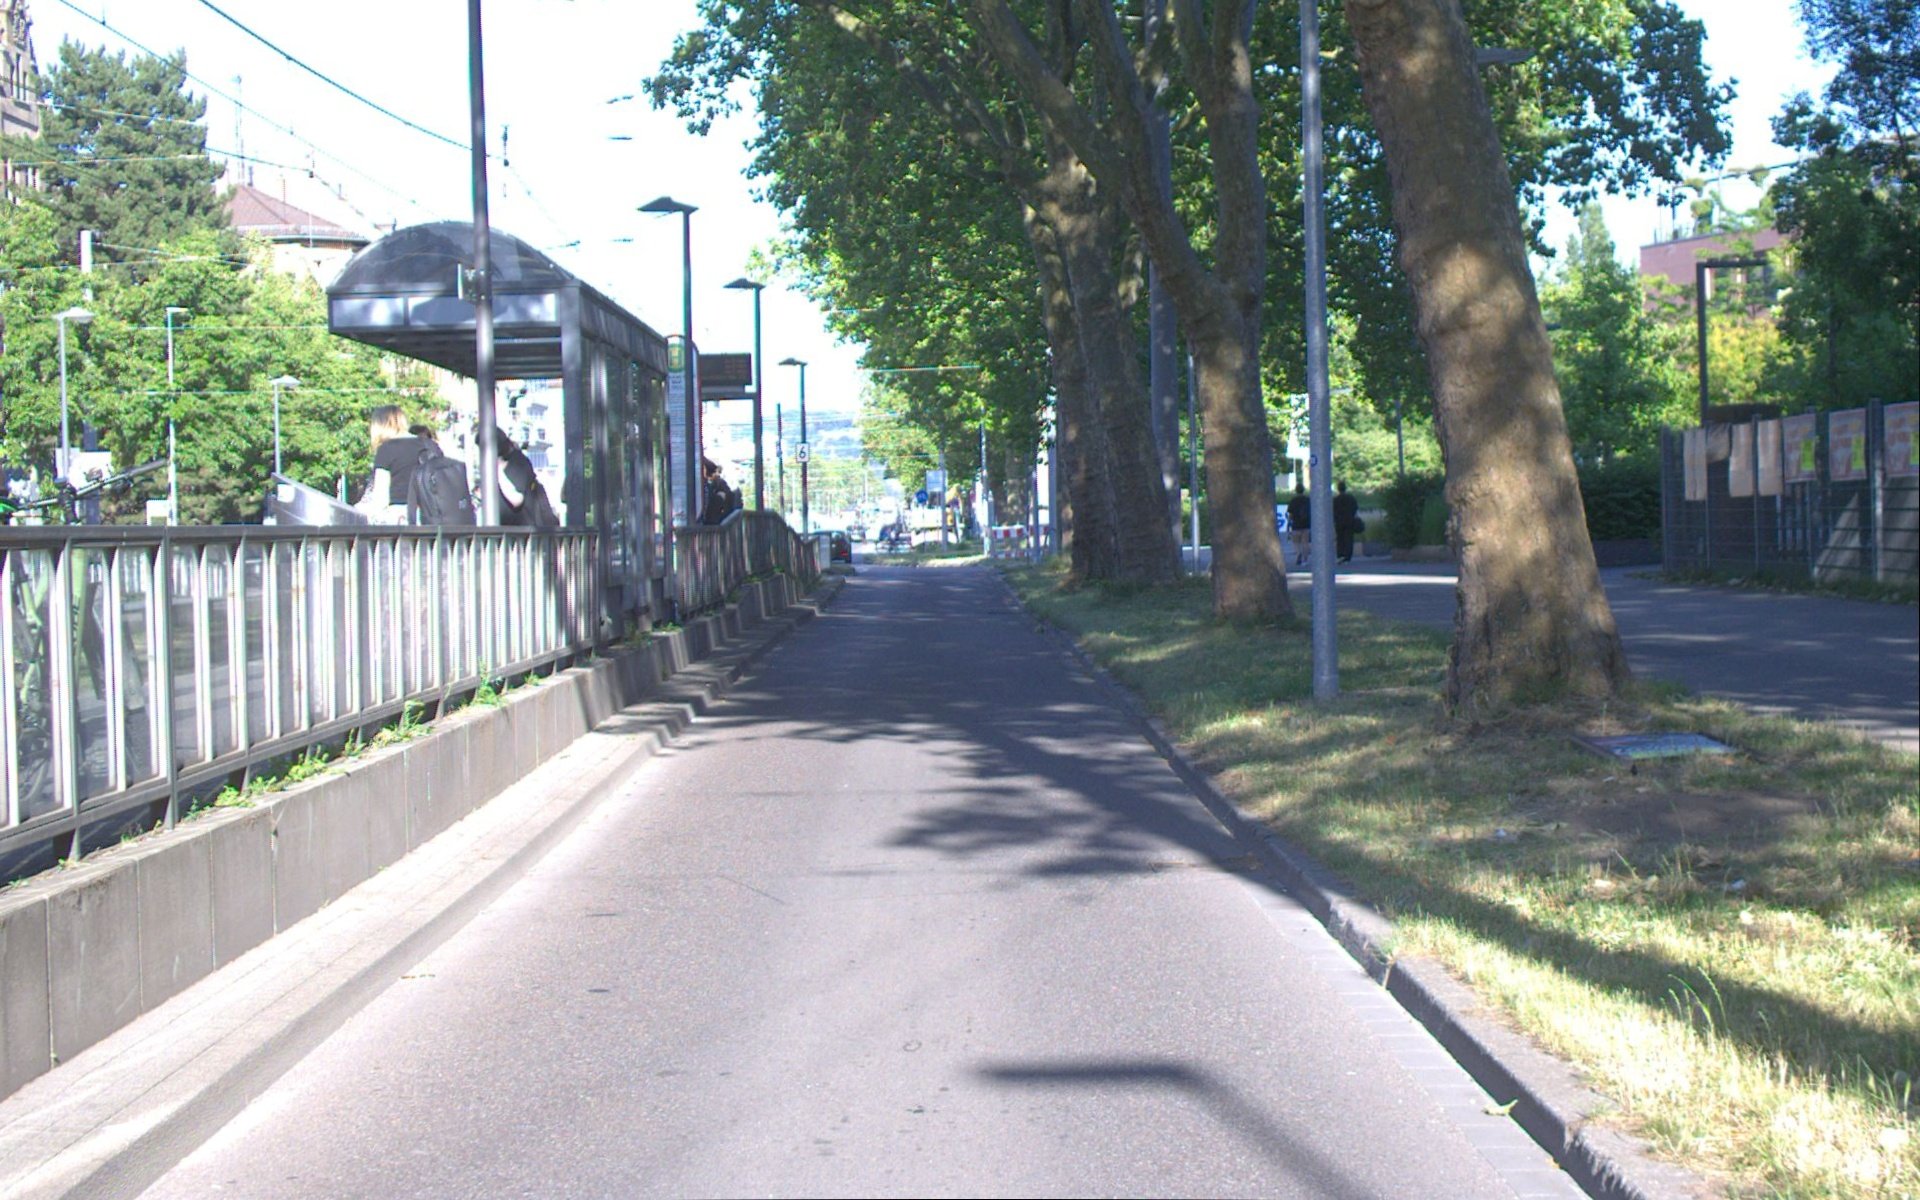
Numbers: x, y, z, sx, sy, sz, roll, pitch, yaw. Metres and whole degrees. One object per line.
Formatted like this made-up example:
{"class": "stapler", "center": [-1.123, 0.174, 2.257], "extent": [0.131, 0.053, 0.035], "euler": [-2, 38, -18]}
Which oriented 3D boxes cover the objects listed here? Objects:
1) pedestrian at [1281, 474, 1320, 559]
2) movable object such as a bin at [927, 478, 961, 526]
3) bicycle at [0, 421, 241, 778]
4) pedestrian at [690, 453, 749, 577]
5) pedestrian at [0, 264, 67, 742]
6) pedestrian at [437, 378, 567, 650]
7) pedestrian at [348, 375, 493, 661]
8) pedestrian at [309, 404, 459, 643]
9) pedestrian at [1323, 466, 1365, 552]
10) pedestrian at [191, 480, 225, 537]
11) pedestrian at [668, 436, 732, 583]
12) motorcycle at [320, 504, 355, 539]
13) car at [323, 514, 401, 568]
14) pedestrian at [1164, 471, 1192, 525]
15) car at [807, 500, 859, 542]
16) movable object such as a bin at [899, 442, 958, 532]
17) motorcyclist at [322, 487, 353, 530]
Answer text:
{"class": "pedestrian", "center": [6.707, -1.647, 67.717], "extent": [0.627, 1.651, 0.740], "euler": [-3, 1, 0]}
{"class": "movable object such as a bin", "center": [-1.065, -6.525, 229.376], "extent": [1.968, 3.002, 4.797], "euler": [-4, 1, -1]}
{"class": "bicycle", "center": [-3.060, -0.028, 11.905], "extent": [0.737, 1.129, 2.031], "euler": [0, 1, -1]}
{"class": "pedestrian", "center": [-3.289, -1.165, 47.128], "extent": [0.757, 1.684, 0.678], "euler": [0, 1, 0]}
{"class": "pedestrian", "center": [-3.890, -0.368, 13.074], "extent": [0.785, 1.764, 0.773], "euler": [0, 1, -1]}
{"class": "pedestrian", "center": [-3.005, -0.565, 22.622], "extent": [0.765, 1.752, 0.695], "euler": [0, 1, -1]}
{"class": "pedestrian", "center": [-3.002, -0.456, 19.197], "extent": [0.678, 1.556, 0.851], "euler": [0, 1, -1]}
{"class": "pedestrian", "center": [-4.236, -0.561, 25.283], "extent": [0.907, 1.716, 0.631], "euler": [0, 1, -34]}
{"class": "pedestrian", "center": [7.558, -1.798, 67.718], "extent": [0.650, 1.651, 0.783], "euler": [-3, 1, 0]}
{"class": "pedestrian", "center": [-25.612, -3.115, 117.159], "extent": [0.858, 1.921, 1.087], "euler": [-3, 1, -2]}
{"class": "pedestrian", "center": [-3.015, -1.053, 39.906], "extent": [0.679, 1.684, 0.894], "euler": [0, 1, 0]}
{"class": "motorcycle", "center": [-19.102, -2.407, 105.519], "extent": [0.817, 1.069, 2.402], "euler": [0, 1, -5]}
{"class": "car", "center": [-20.242, -2.020, 116.571], "extent": [1.864, 1.800, 4.028], "euler": [0, 1, 1]}
{"class": "pedestrian", "center": [7.413, -3.463, 116.900], "extent": [0.805, 1.787, 1.110], "euler": [-3, 1, 0]}
{"class": "car", "center": [-5.206, -3.246, 140.970], "extent": [1.993, 1.678, 4.000], "euler": [0, 1, 0]}
{"class": "movable object such as a bin", "center": [-1.930, -6.773, 207.191], "extent": [3.087, 5.070, 8.893], "euler": [-4, 1, -1]}
{"class": "motorcyclist", "center": [-19.086, -2.806, 105.420], "extent": [0.817, 1.295, 1.277], "euler": [0, 1, -5]}
